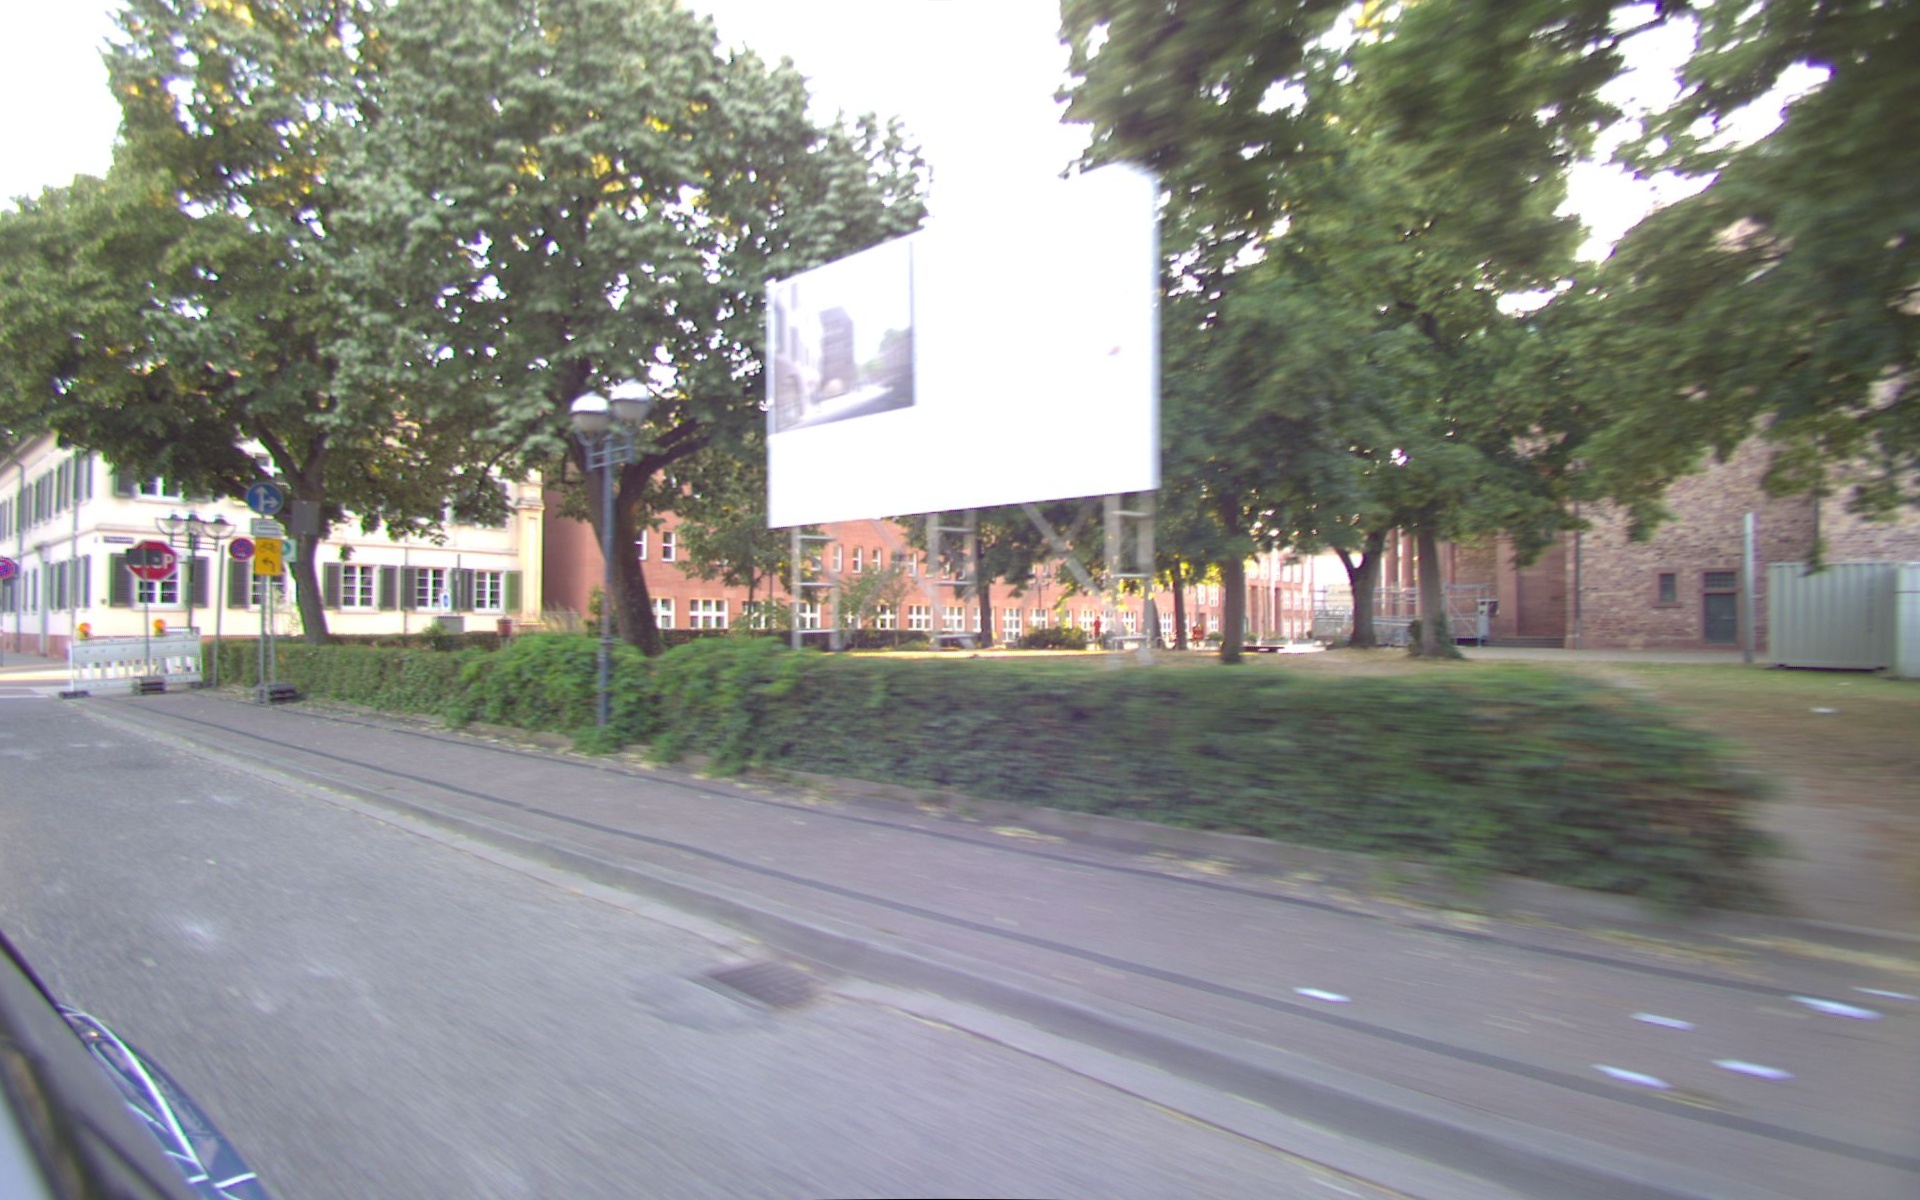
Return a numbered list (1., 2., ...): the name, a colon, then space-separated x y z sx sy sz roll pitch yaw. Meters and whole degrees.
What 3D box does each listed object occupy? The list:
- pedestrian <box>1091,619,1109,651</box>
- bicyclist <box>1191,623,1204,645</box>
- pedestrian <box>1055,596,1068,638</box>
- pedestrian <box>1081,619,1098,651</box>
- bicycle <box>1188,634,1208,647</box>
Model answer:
1. pedestrian: 7.536 1.862 54.420 0.654 1.706 0.742 -1 -2 43
2. bicyclist: 16.900 2.425 72.023 0.630 1.563 0.667 -1 -2 42
3. pedestrian: 4.829 0.810 48.084 0.459 2.029 0.404 -1 -2 29
4. pedestrian: 7.027 1.900 54.925 0.654 1.706 0.742 -1 -2 43
5. bicycle: 16.946 2.895 72.065 0.533 0.940 1.809 -1 -2 43
